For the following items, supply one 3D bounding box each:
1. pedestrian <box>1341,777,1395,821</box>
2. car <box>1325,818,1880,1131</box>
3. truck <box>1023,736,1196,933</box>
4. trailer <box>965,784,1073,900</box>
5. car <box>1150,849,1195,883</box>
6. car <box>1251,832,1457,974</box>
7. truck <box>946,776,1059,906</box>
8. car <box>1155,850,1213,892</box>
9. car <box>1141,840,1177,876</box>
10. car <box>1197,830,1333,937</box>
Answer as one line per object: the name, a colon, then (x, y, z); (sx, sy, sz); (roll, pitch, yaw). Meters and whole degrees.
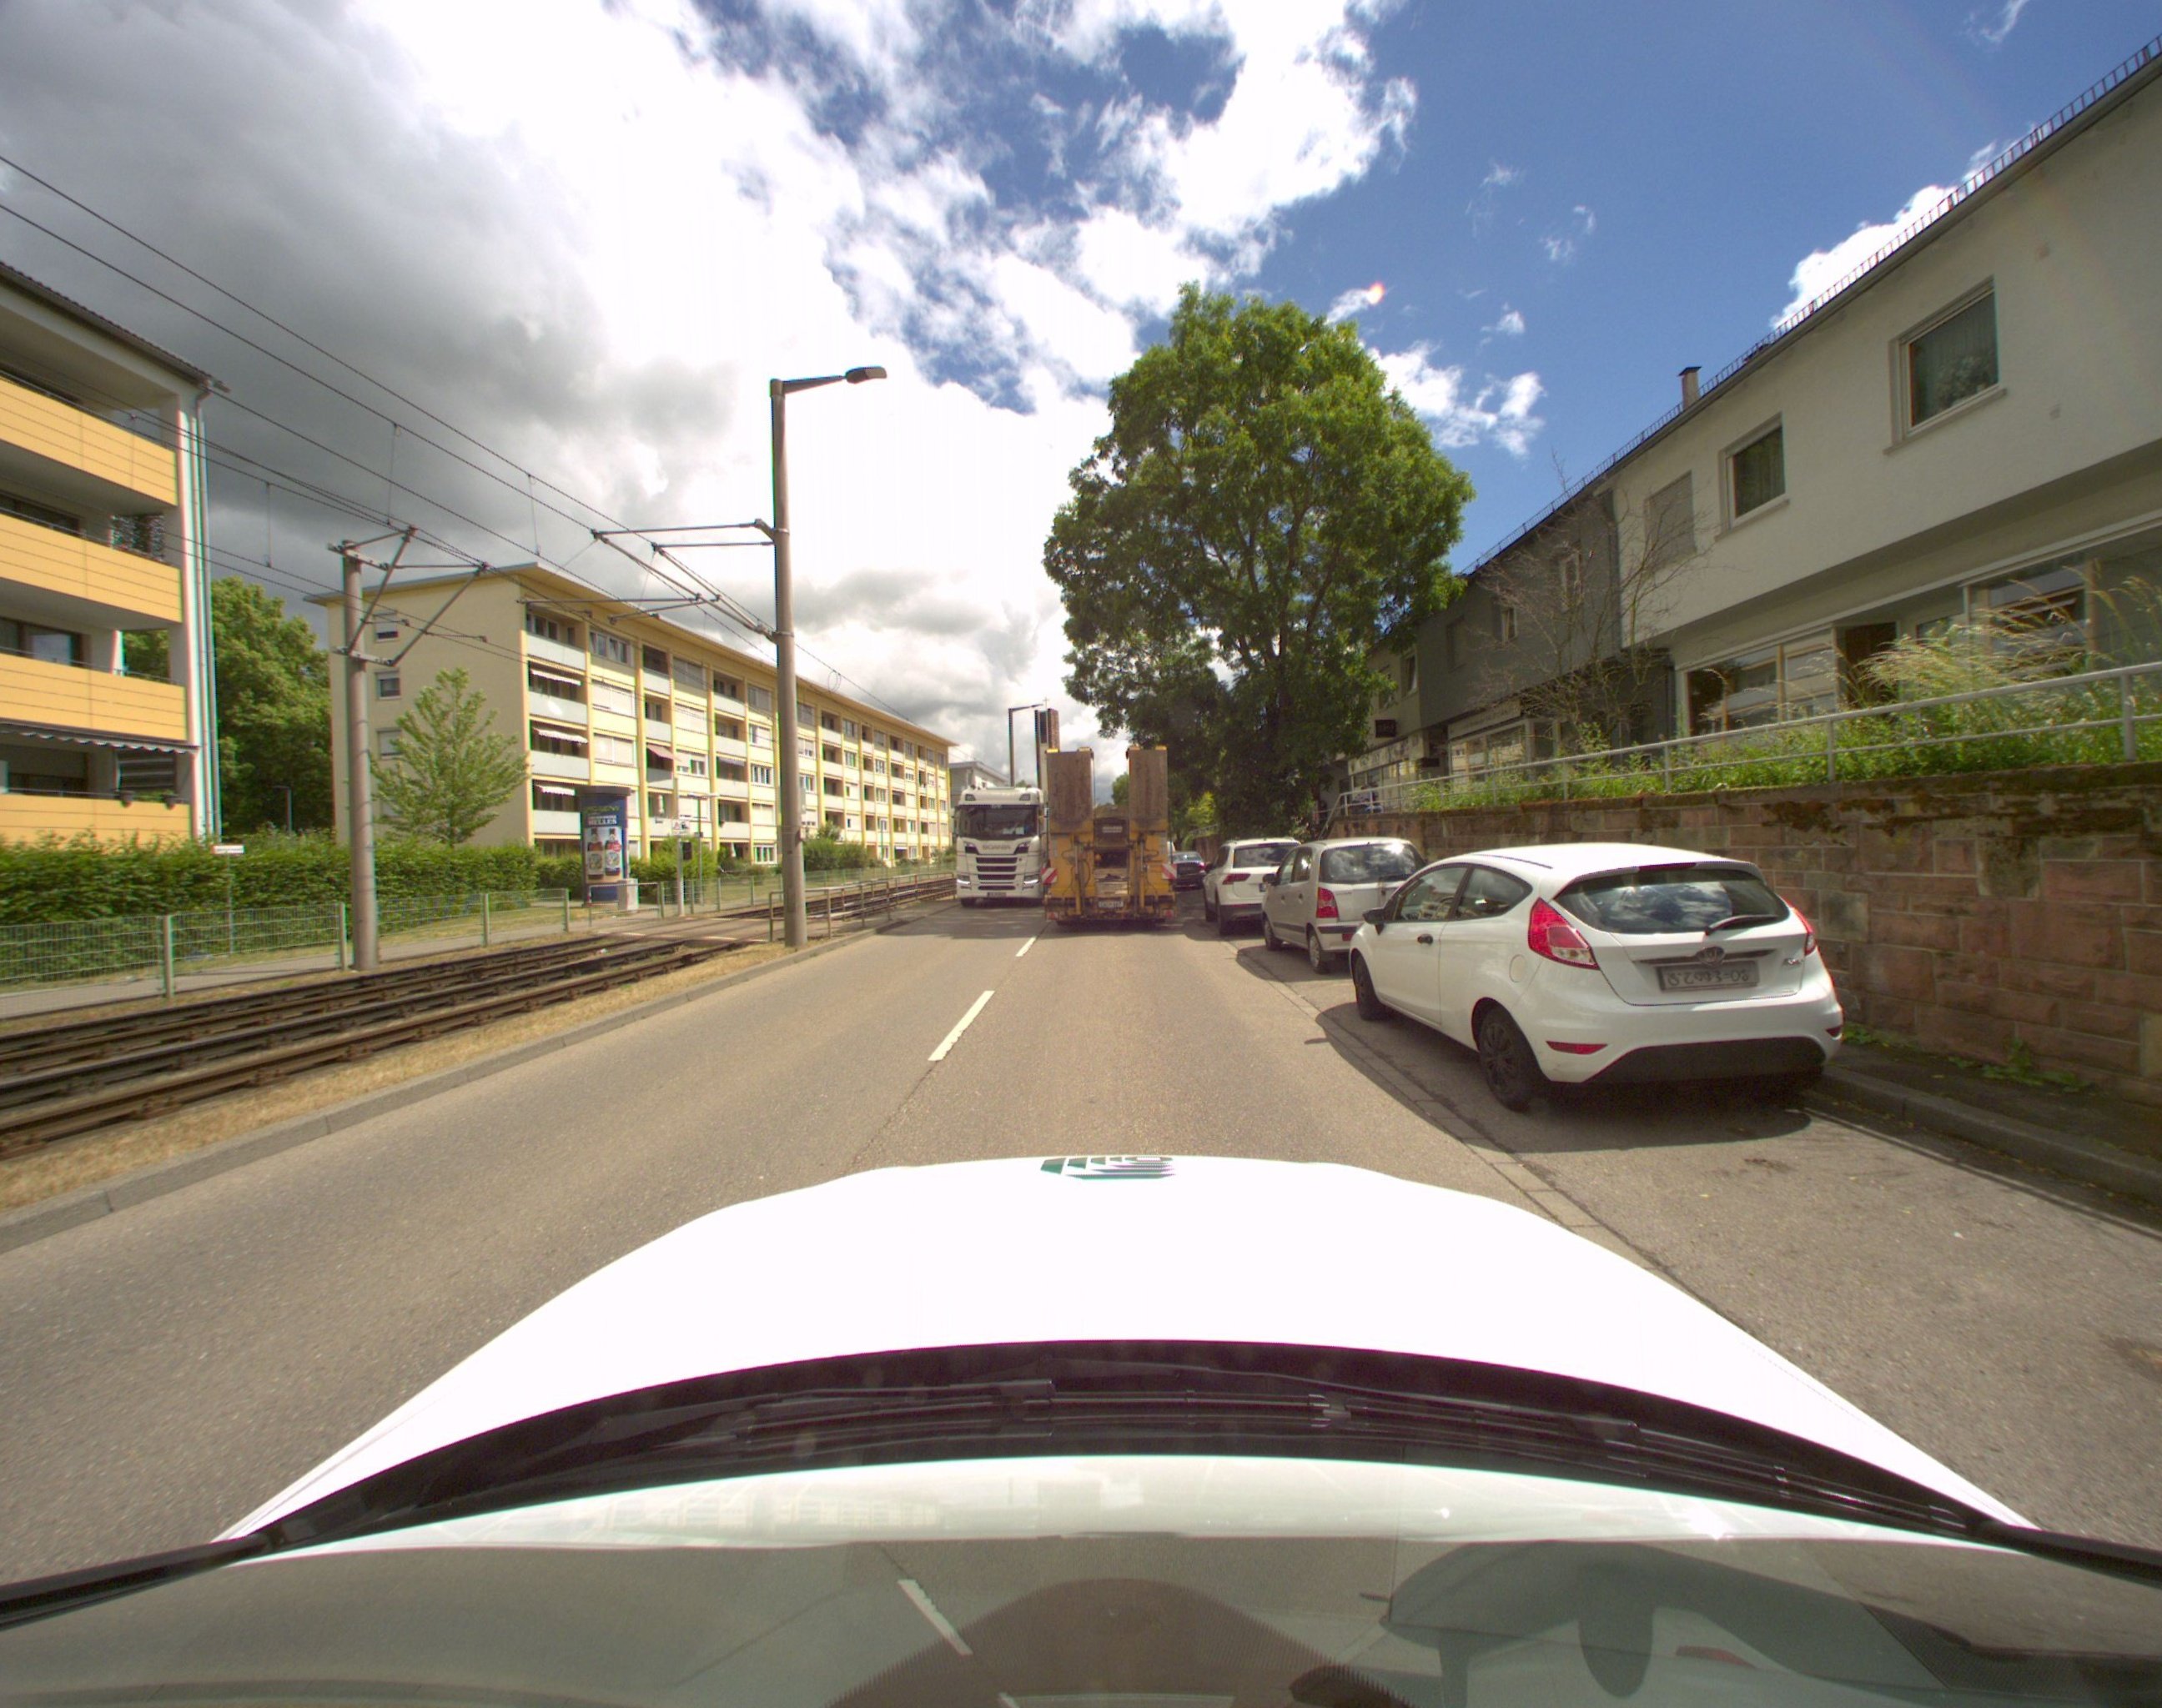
pedestrian: (5.609, -1.061, 15.957); (0.792, 0.790, 0.705); (-2, 0, 0)
car: (3.143, 0.580, 5.926); (1.639, 1.490, 3.823); (-2, 0, 1)
truck: (0.769, -0.415, 21.419); (3.112, 3.564, 12.466); (-2, 0, 2)
trailer: (-2.019, -0.441, 32.361); (2.688, 3.580, 13.682); (-1, 0, 2)
car: (4.254, 0.522, 38.378); (1.684, 1.405, 4.069); (-3, 0, 1)
car: (3.447, 0.535, 10.933); (1.576, 1.552, 3.475); (-2, 0, 0)
truck: (-2.283, -0.381, 25.778); (2.688, 3.580, 6.148); (-1, 0, 2)
car: (3.881, 0.589, 31.249); (1.828, 1.405, 4.418); (-3, 0, 3)
car: (4.635, 0.236, 48.978); (1.792, 1.968, 4.592); (-3, 0, 2)
car: (3.359, 0.464, 15.698); (1.815, 1.682, 4.581); (-3, 0, 4)
